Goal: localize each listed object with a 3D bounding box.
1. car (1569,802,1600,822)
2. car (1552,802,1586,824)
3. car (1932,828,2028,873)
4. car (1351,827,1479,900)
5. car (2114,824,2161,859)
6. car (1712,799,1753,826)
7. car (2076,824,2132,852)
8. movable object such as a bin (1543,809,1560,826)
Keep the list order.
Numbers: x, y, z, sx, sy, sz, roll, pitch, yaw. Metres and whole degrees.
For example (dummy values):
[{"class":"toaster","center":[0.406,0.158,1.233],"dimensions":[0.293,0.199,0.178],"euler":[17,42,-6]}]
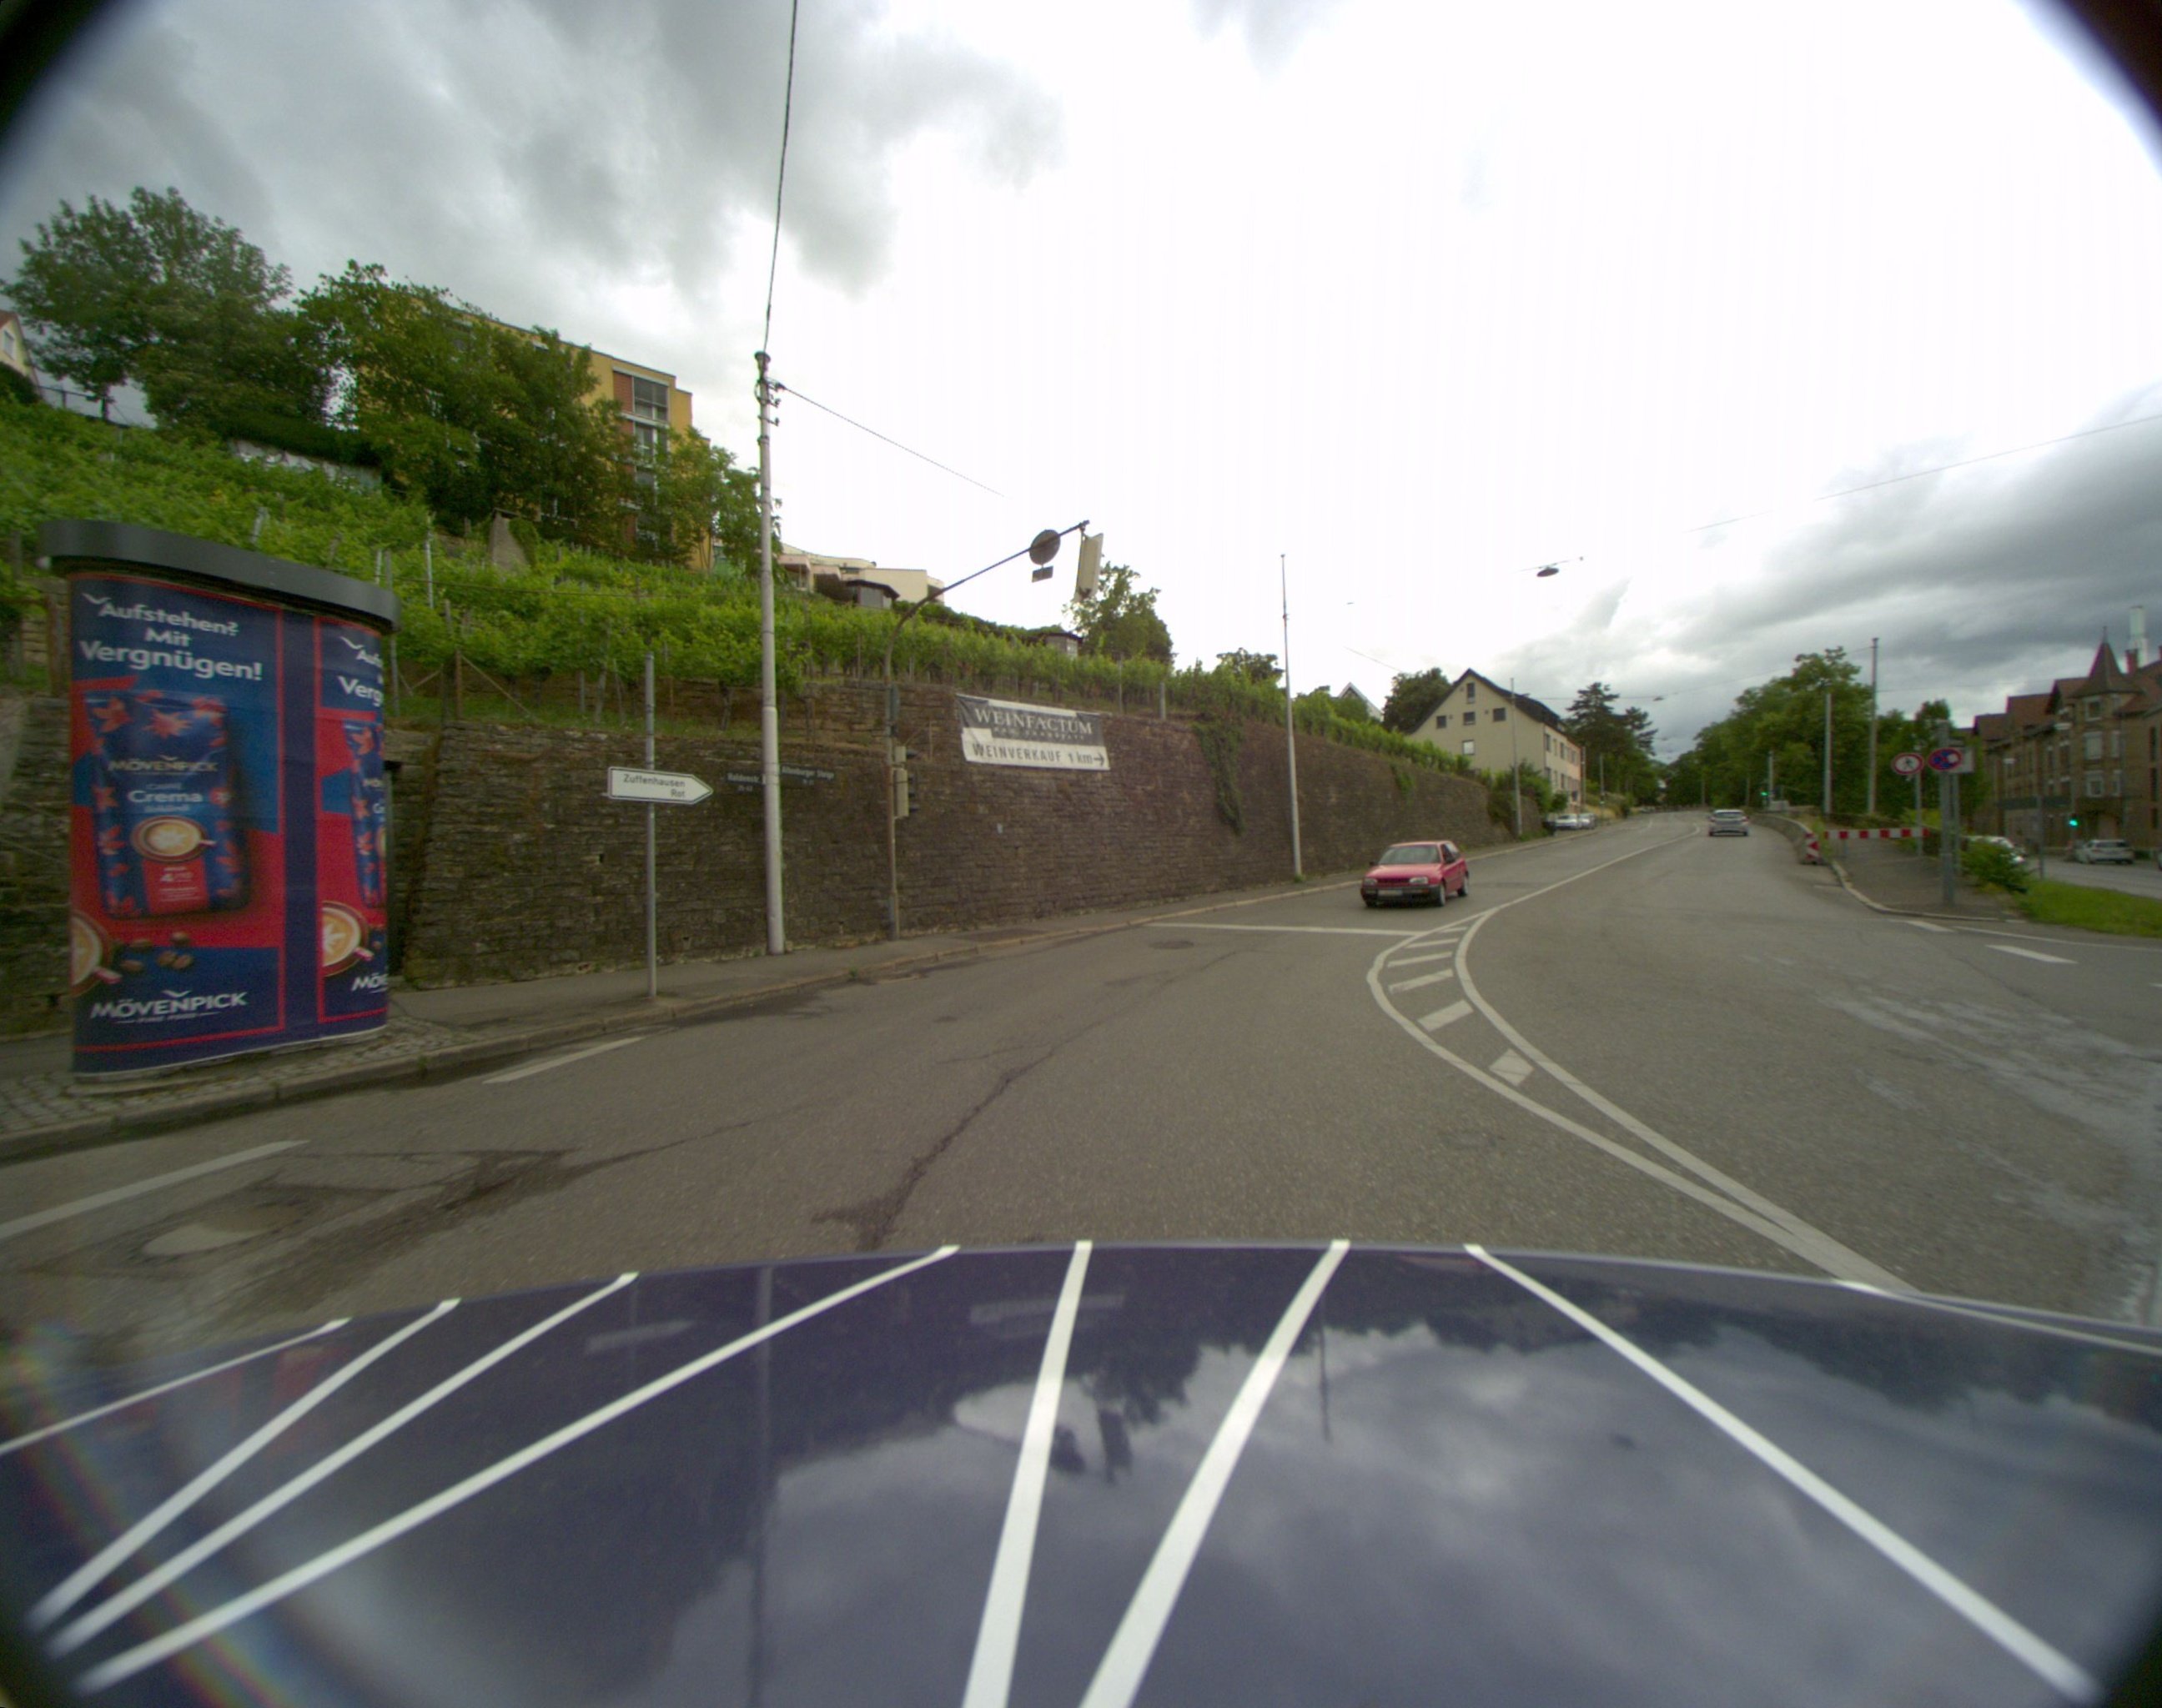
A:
[{"class":"car","center":[46.346,-3.909,69.922],"dimensions":[1.728,1.566,4.256],"euler":[-3,2,42]},{"class":"car","center":[42.333,-3.571,65.853],"dimensions":[1.795,1.566,4.062],"euler":[-3,2,42]},{"class":"car","center":[31.244,-0.153,26.513],"dimensions":[4.008,1.434,1.872],"euler":[-2,2,-44]},{"class":"car","center":[7.948,0.164,17.888],"dimensions":[1.643,1.430,4.007],"euler":[-2,2,40]},{"class":"car","center":[55.195,-0.676,39.209],"dimensions":[3.650,1.491,1.705],"euler":[-7,2,-45]},{"class":"car","center":[36.936,-2.327,43.142],"dimensions":[1.670,1.459,3.650],"euler":[0,2,40]},{"class":"car","center":[67.001,-1.068,49.815],"dimensions":[3.851,1.783,1.813],"euler":[-2,2,-41]},{"class":"movable object such as a bin","center":[32.590,-2.519,52.647],"dimensions":[0.809,1.120,0.876],"euler":[-2,3,42]}]
